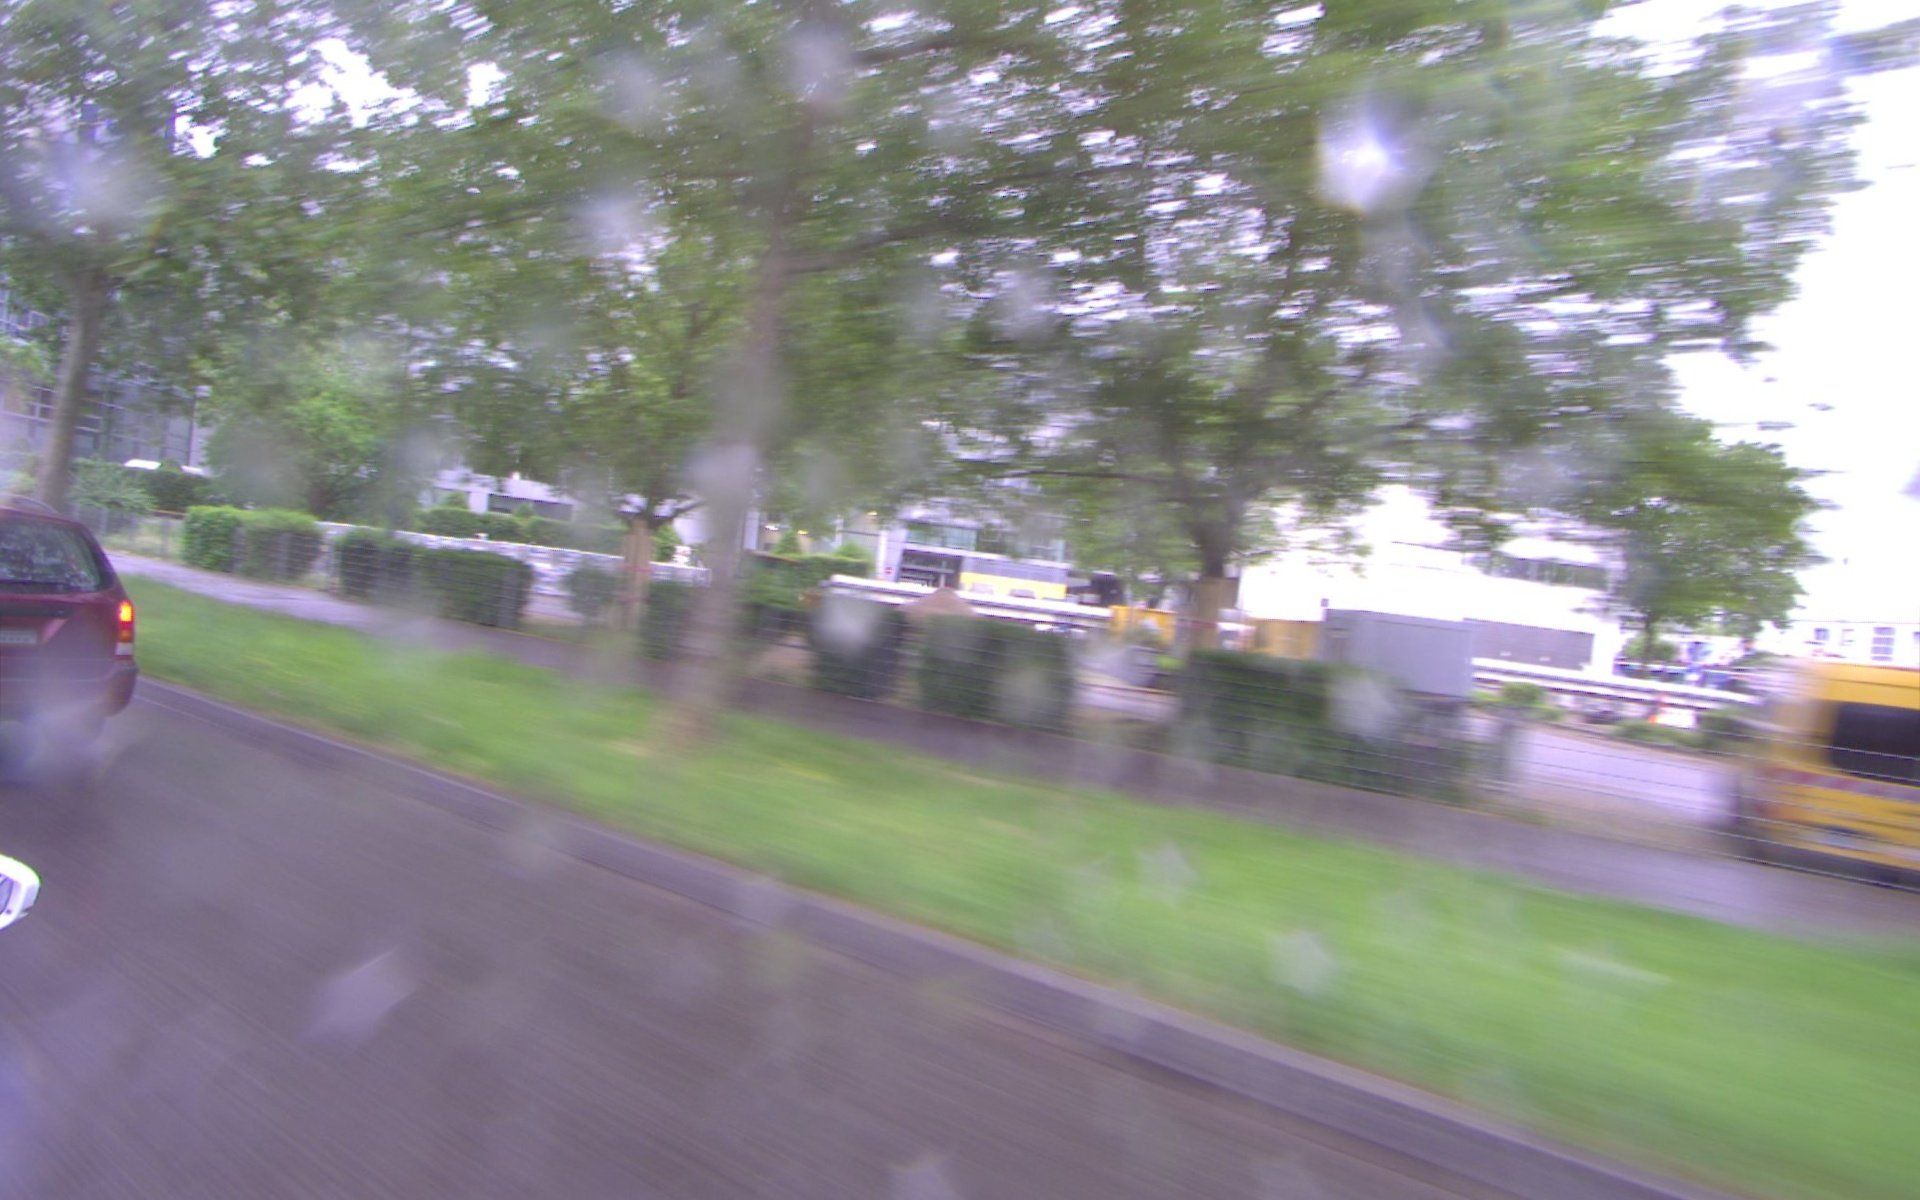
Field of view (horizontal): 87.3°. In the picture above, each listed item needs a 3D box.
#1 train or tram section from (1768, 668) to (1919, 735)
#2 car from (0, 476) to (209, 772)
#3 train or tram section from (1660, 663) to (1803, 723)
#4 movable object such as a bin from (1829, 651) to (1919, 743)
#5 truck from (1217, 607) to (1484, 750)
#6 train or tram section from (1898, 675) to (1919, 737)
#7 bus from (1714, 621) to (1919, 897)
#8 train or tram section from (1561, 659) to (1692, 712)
[{"bbox_3d":[57.323,6.459,64.998,2.358,3.560,8.528,6,-2,-7],"label":"train or tram section"},{"bbox_3d":[-6.789,-0.055,6.289,4.043,1.554,1.843,6,-2,31],"label":"car"},{"bbox_3d":[56.249,6.707,73.758,2.358,3.560,9.110,6,-2,-7],"label":"train or tram section"},{"bbox_3d":[42.050,4.395,45.010,3.565,3.670,3.301,6,0,-24],"label":"movable object such as a bin"},{"bbox_3d":[10.468,2.023,28.539,3.026,3.067,9.502,6,-2,-4],"label":"truck"},{"bbox_3d":[58.332,6.330,56.592,2.358,3.560,8.368,6,-2,-7],"label":"train or tram section"},{"bbox_3d":[10.879,1.851,12.326,1.967,2.679,4.799,7,-1,32],"label":"bus"},{"bbox_3d":[55.056,6.957,83.641,2.358,3.560,10.843,6,-2,-7],"label":"train or tram section"}]
